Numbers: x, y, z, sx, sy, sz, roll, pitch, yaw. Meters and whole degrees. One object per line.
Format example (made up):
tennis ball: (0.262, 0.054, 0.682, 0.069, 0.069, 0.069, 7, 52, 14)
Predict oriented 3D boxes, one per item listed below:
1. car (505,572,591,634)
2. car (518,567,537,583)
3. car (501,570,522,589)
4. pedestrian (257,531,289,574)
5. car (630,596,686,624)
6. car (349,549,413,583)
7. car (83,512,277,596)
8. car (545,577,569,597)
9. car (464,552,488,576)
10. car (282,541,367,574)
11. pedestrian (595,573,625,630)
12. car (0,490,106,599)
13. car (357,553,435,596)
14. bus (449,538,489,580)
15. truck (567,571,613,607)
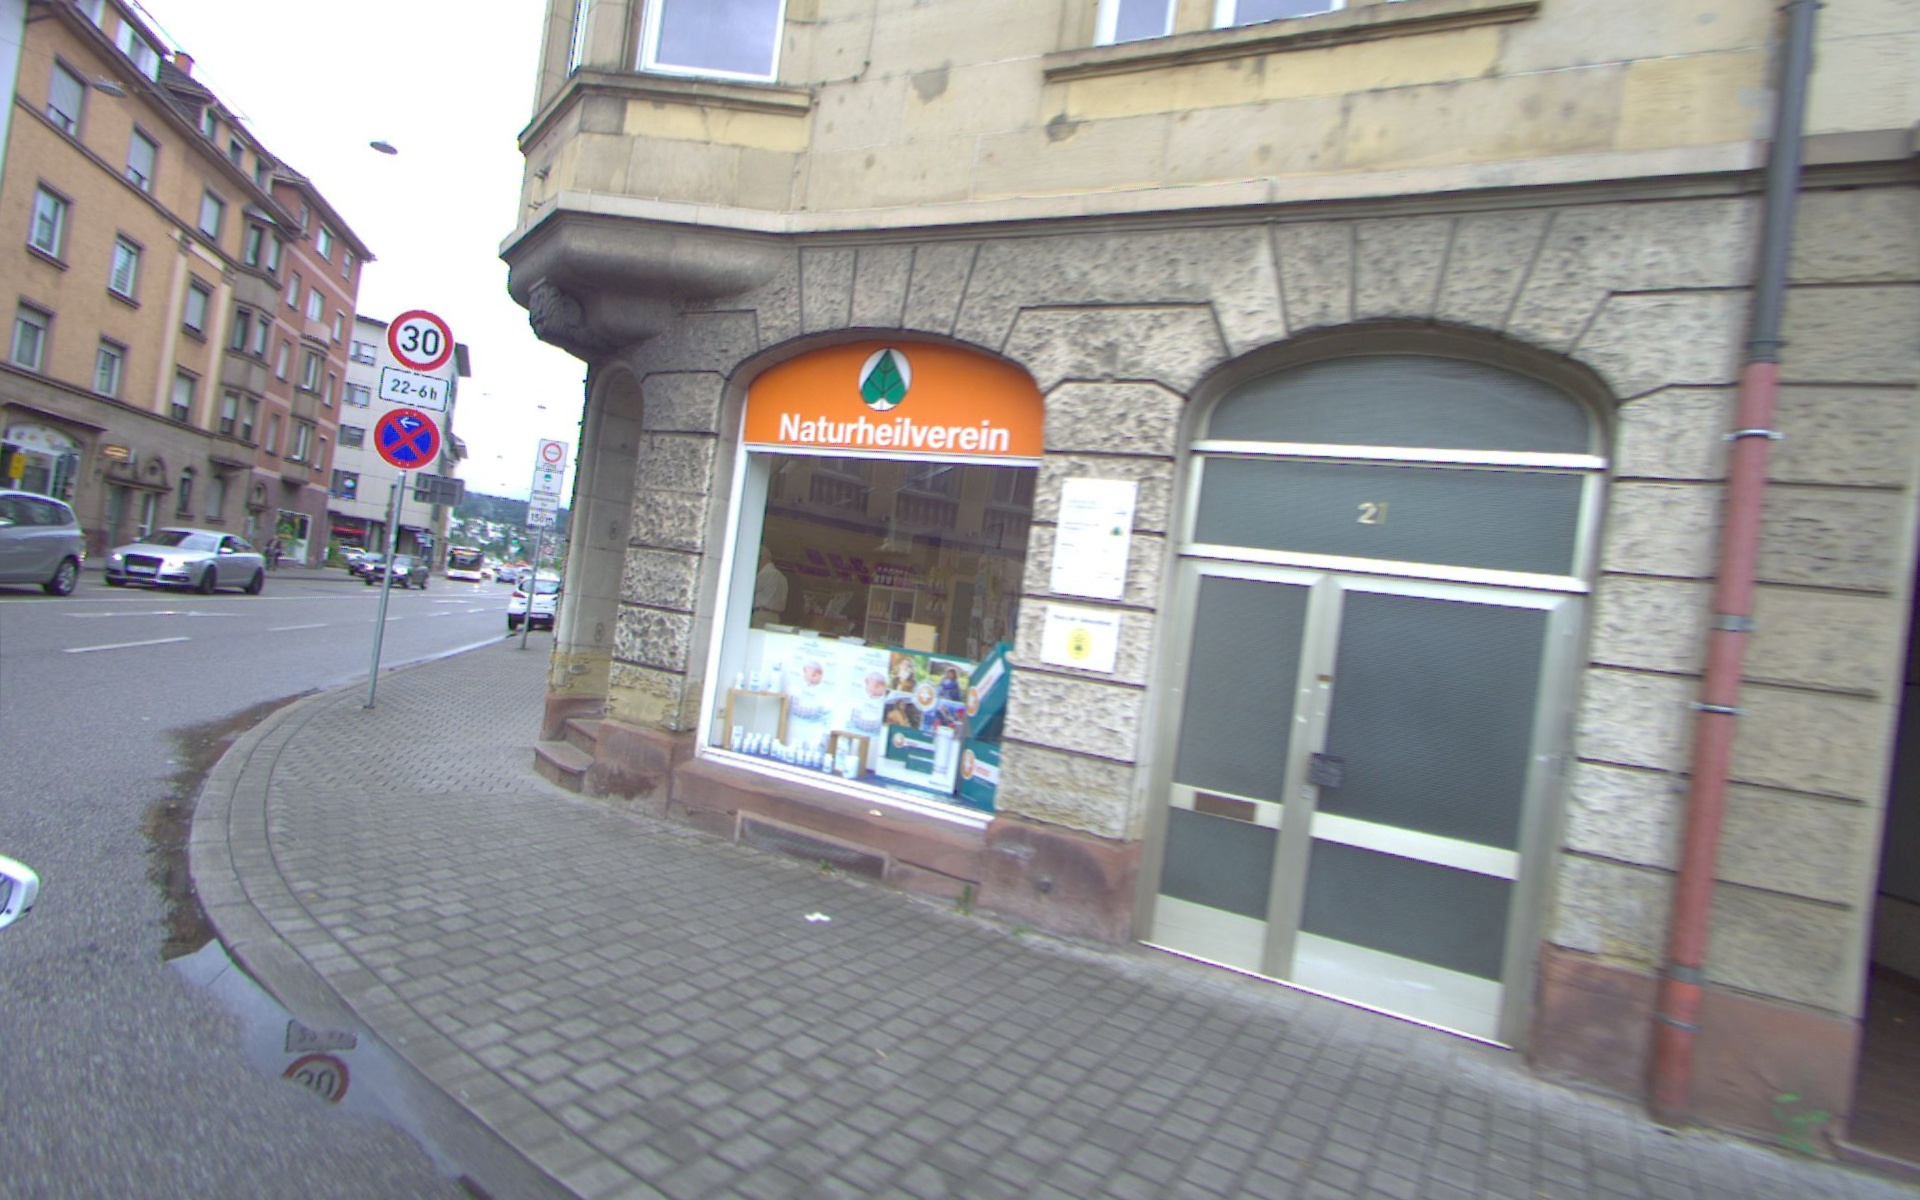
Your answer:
car: (-12.049, 0.096, 29.661, 1.628, 1.511, 4.436, 8, -2, -15)
car: (-52.967, -3.102, 123.157, 1.738, 1.670, 3.977, 8, -2, -25)
car: (-46.193, -2.121, 103.594, 1.739, 1.670, 4.281, 8, -2, -26)
pedestrian: (-30.095, -2.076, 44.094, 0.837, 1.697, 0.847, 11, -3, -29)
car: (-23.140, 0.774, 77.008, 3.788, 1.592, 1.927, 8, -2, -23)
car: (-32.317, -1.856, 56.312, 1.830, 1.412, 4.778, 11, -3, -16)
car: (-17.798, -0.960, 23.272, 1.921, 1.487, 4.545, 8, -2, -17)
car: (-37.983, -1.226, 94.756, 1.738, 1.670, 3.977, 8, -2, -25)
car: (-58.096, -4.311, 120.843, 2.066, 2.463, 6.321, 8, -2, -23)
car: (-44.139, -2.972, 69.938, 1.882, 1.550, 4.620, 6, -3, 44)
pedestrian: (-11.716, 0.048, 33.716, 0.736, 1.800, 0.792, 7, -1, -19)
car: (-15.296, -0.949, 15.163, 1.921, 1.602, 4.506, 8, -2, -17)
car: (-26.549, -1.172, 47.485, 1.956, 1.613, 4.328, 8, -2, -14)
bus: (-44.346, -3.631, 90.969, 2.734, 3.225, 8.860, 8, -2, -25)
truck: (-26.076, -0.772, 70.797, 2.379, 2.154, 5.284, 8, -2, -25)
